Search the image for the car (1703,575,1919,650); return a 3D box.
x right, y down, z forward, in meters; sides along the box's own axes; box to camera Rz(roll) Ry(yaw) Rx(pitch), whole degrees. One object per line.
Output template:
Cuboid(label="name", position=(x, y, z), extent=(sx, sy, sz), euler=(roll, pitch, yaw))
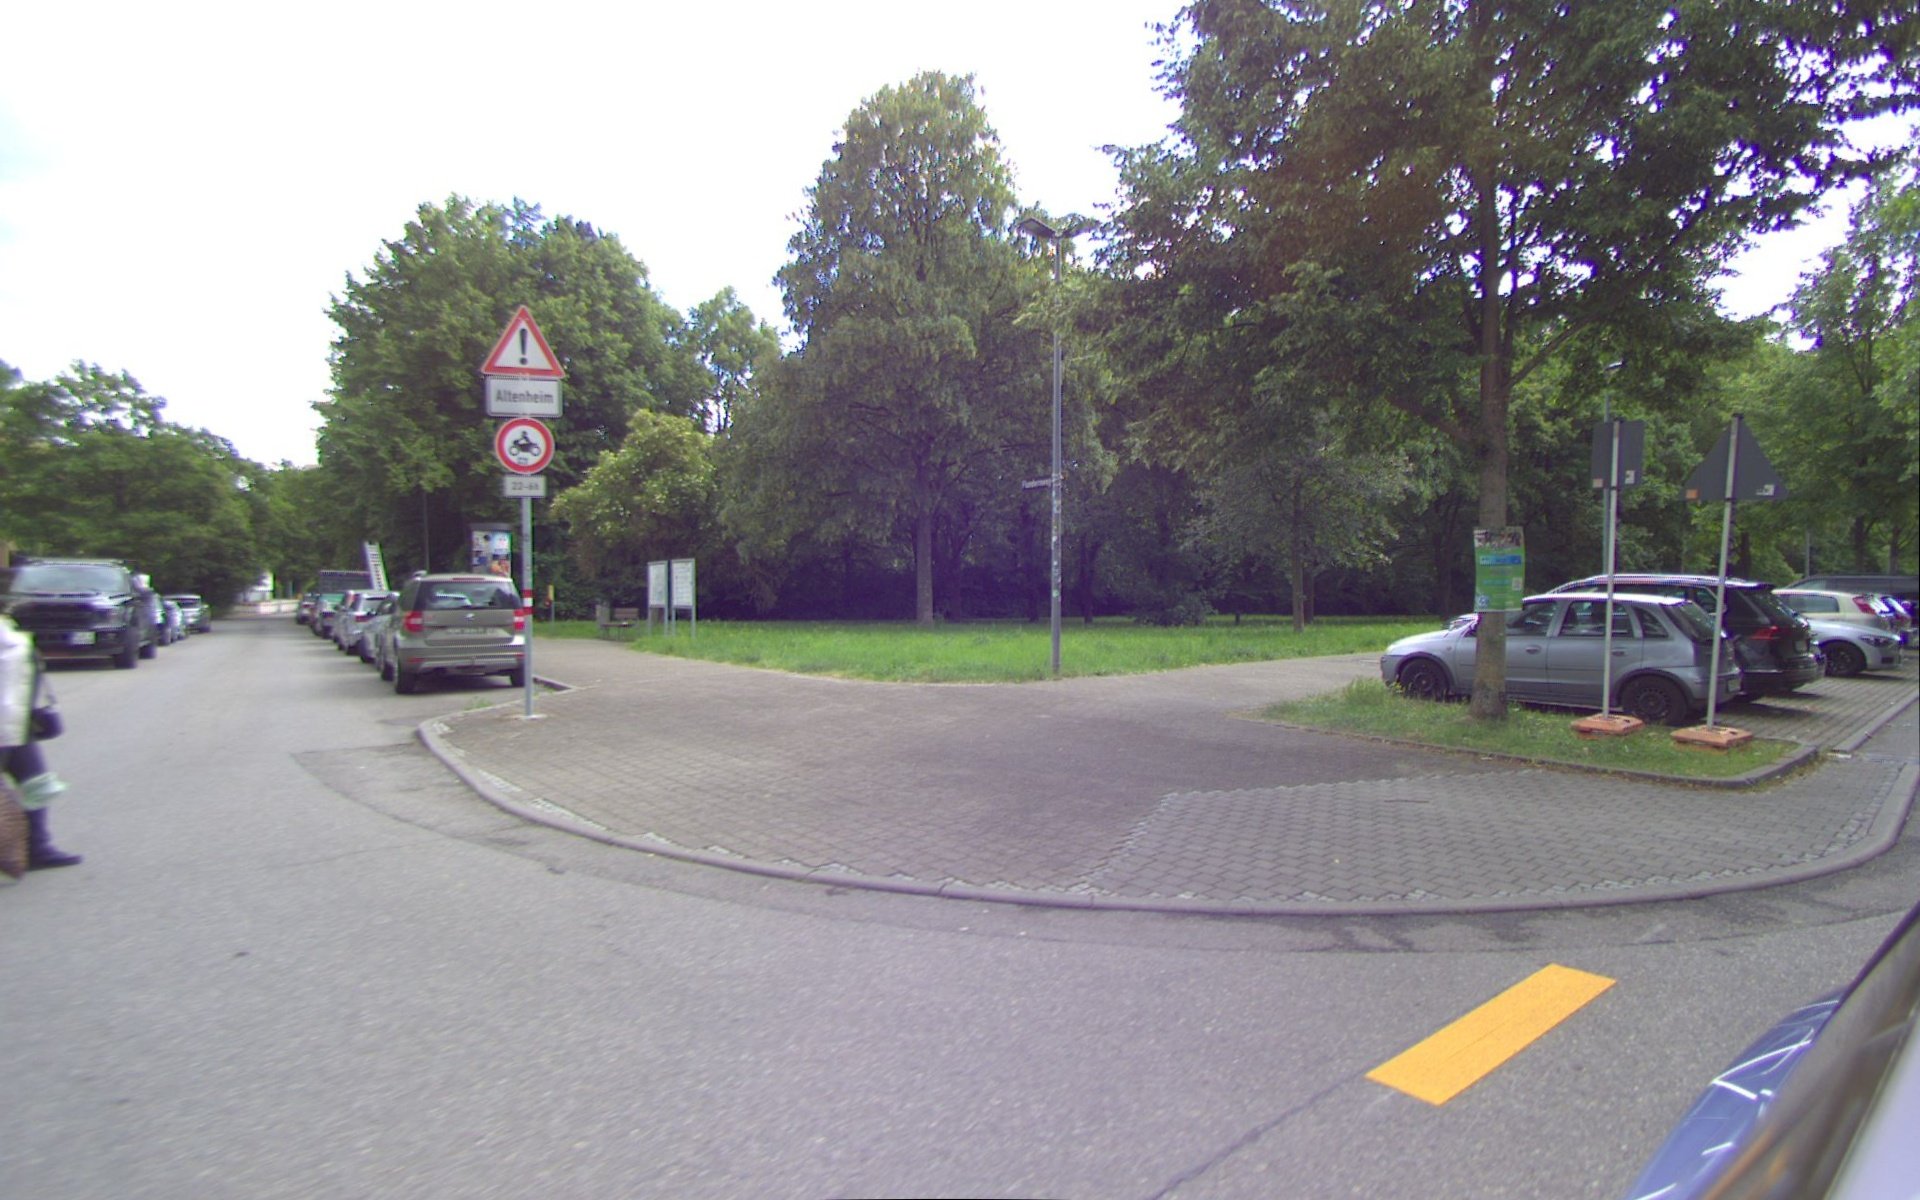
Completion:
Cuboid(label="car", position=(20.355, 0.238, 24.079), extent=(1.762, 1.529, 3.970), euler=(0, 3, -40))

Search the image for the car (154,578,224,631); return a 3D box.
Cuboid(label="car", position=(-32.027, 0.141, 42.178), extent=(2.097, 2.082, 5.336), euler=(0, 1, -35))

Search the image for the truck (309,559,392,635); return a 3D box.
Cuboid(label="truck", position=(-21.491, -0.149, 35.549), extent=(2.151, 2.456, 5.525), euler=(-1, 1, -35))

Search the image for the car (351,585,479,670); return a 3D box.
Cuboid(label="car", position=(-10.656, 0.452, 19.627), extent=(1.671, 1.446, 4.406), euler=(-1, 1, -35))

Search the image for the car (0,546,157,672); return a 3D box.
Cuboid(label="car", position=(-16.824, 0.119, 19.247), extent=(2.097, 2.082, 5.336), euler=(0, 1, -35))

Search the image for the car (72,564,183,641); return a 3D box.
Cuboid(label="car", position=(-24.515, 0.042, 29.985), extent=(2.097, 2.082, 5.336), euler=(0, 1, -35))

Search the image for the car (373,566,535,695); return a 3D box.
Cuboid(label="car", position=(-7.762, 0.359, 15.362), extent=(1.734, 1.689, 3.793), euler=(0, 1, -34))

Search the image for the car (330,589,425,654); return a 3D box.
Cuboid(label="car", position=(-14.328, 0.449, 24.768), extent=(1.671, 1.446, 4.444), euler=(-1, 1, -34))

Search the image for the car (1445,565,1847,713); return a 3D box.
Cuboid(label="car", position=(9.141, 0.372, 13.795), extent=(1.944, 1.670, 4.135), euler=(-1, 2, -38))

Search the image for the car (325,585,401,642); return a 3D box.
Cuboid(label="car", position=(-17.783, 0.347, 30.069), extent=(1.671, 1.545, 4.297), euler=(-1, 1, -34))

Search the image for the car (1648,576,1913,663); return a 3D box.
Cuboid(label="car", position=(16.819, 0.313, 20.894), extent=(1.779, 1.546, 3.995), euler=(-1, 3, -41))

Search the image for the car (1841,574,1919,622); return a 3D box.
Cuboid(label="car", position=(35.635, -0.043, 37.375), extent=(2.046, 1.696, 4.423), euler=(0, 2, -42))

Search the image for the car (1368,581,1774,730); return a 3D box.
Cuboid(label="car", position=(7.237, 0.524, 12.293), extent=(1.819, 1.420, 3.841), euler=(-1, 3, -40))

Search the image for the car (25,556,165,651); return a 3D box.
Cuboid(label="car", position=(-21.132, 0.046, 24.946), extent=(2.097, 2.082, 5.336), euler=(0, 1, -35))

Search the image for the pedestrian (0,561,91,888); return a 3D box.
Cuboid(label="pedestrian", position=(-5.038, 0.606, 5.198), extent=(0.794, 1.596, 0.837), euler=(0, 0, -36))

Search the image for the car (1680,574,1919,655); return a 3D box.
Cuboid(label="car", position=(18.669, 0.248, 22.518), extent=(1.731, 1.529, 3.971), euler=(0, 3, -39))

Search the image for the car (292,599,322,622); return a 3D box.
Cuboid(label="car", position=(-46.301, 0.718, 71.695), extent=(1.671, 1.545, 4.297), euler=(-1, 1, -34))

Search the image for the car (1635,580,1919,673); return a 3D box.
Cuboid(label="car", position=(15.093, 0.392, 18.721), extent=(1.902, 1.447, 3.994), euler=(-1, 3, -42))

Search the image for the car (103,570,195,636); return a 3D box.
Cuboid(label="car", position=(-27.653, 0.078, 34.671), extent=(2.097, 2.082, 5.336), euler=(0, 1, -35))

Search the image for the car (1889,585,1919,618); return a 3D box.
Cuboid(label="car", position=(45.013, 0.097, 45.848), extent=(1.819, 1.474, 4.081), euler=(0, 2, -41))

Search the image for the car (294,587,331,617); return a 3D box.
Cuboid(label="car", position=(-37.110, 0.093, 57.986), extent=(1.671, 1.650, 4.297), euler=(-1, 1, -34))

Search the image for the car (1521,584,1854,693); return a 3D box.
Cuboid(label="car", position=(11.097, 0.489, 15.665), extent=(1.789, 1.375, 3.843), euler=(-1, 2, -38))

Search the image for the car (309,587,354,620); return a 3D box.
Cuboid(label="car", position=(-30.687, 0.145, 49.399), extent=(1.671, 1.545, 4.297), euler=(-1, 1, -34))

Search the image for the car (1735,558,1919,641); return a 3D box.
Cuboid(label="car", position=(24.160, -0.057, 27.154), extent=(2.127, 2.038, 4.965), euler=(0, 3, -40))
